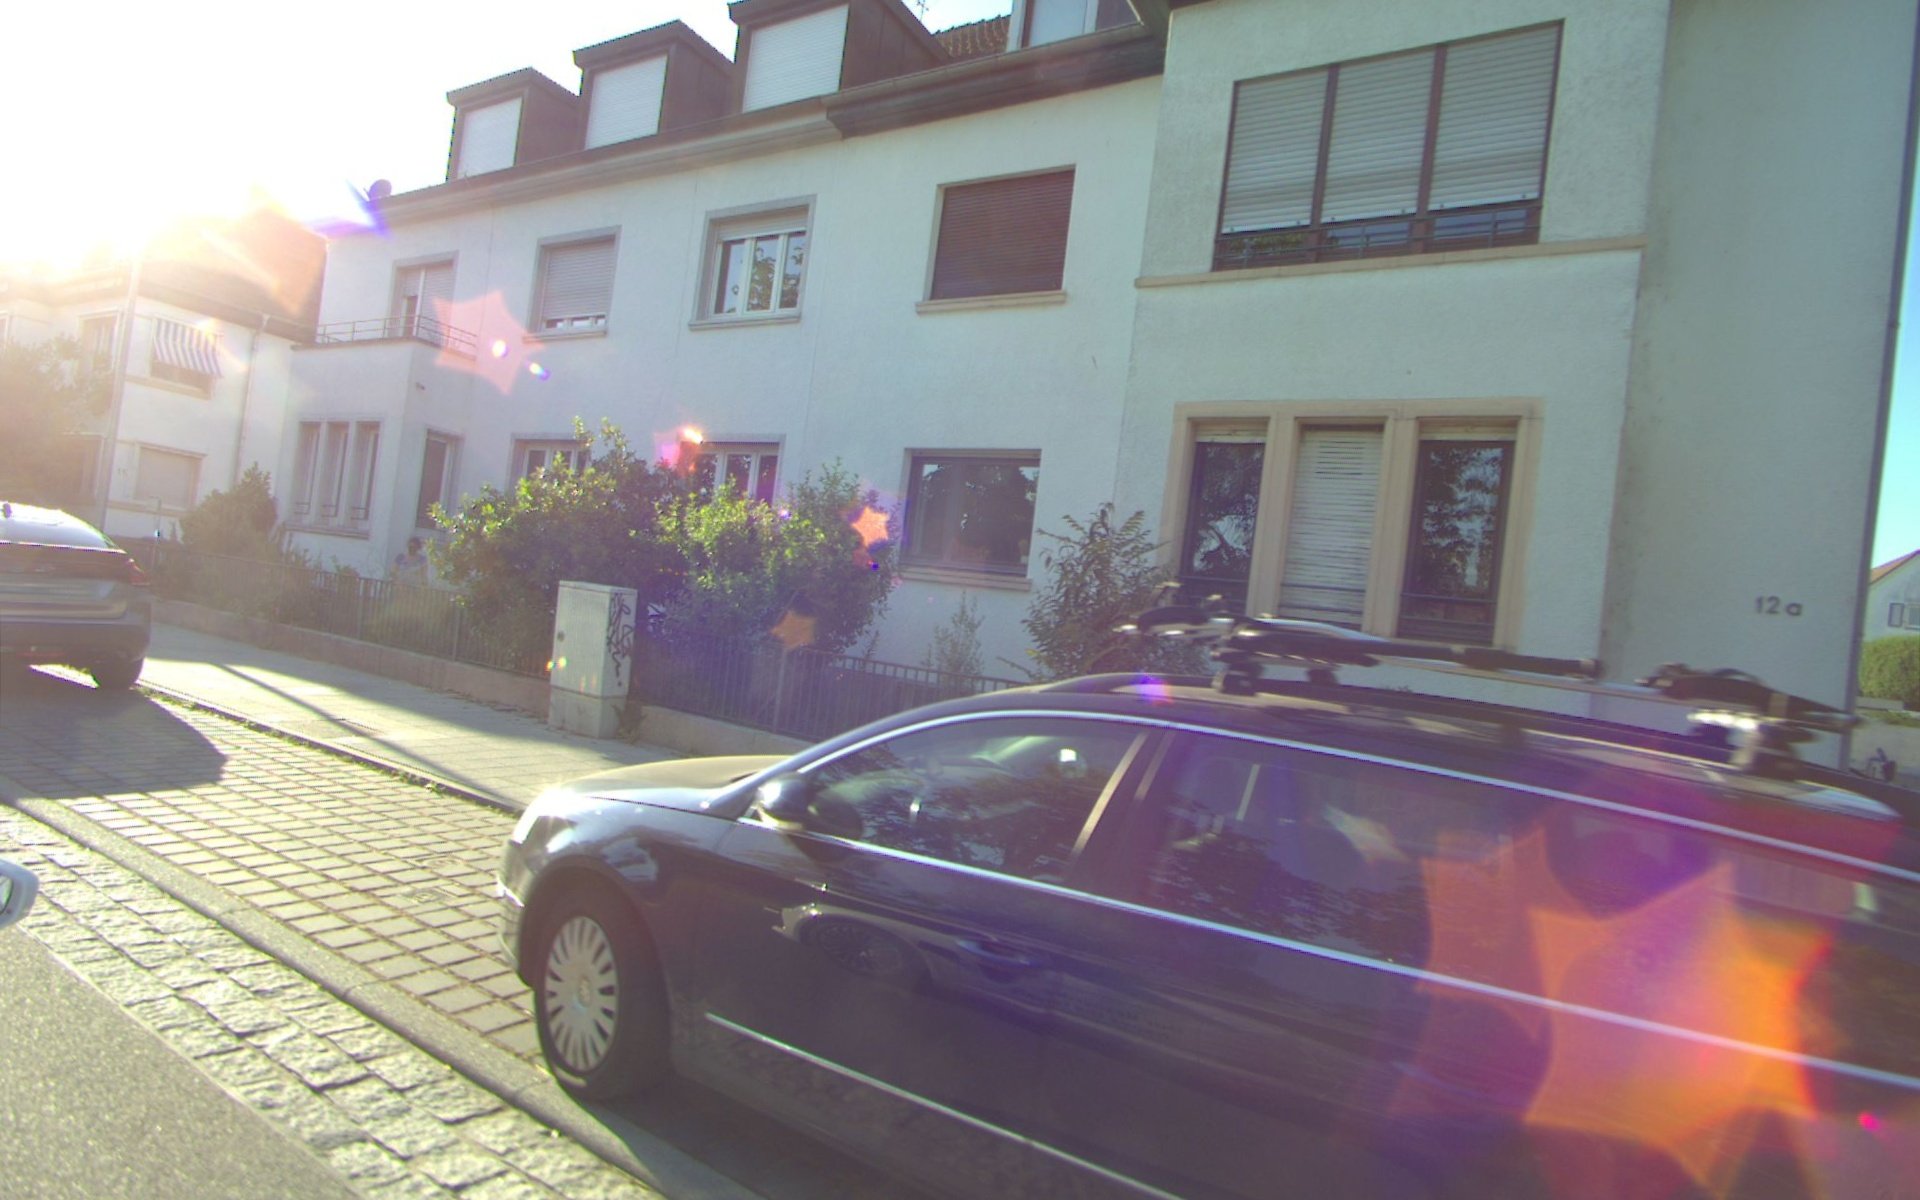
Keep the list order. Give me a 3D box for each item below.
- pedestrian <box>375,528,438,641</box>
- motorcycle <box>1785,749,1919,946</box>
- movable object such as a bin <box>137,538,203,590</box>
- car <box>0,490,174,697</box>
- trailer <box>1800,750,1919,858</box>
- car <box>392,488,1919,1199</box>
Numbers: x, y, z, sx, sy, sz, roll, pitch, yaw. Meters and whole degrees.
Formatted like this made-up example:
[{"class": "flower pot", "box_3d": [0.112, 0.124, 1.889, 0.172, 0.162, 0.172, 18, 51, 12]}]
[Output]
[{"class": "pedestrian", "box_3d": [-8.360, -0.232, 15.187, 0.591, 1.595, 0.625, 9, -3, -32]}, {"class": "motorcycle", "box_3d": [7.276, 1.903, 8.044, 0.588, 1.262, 2.074, 6, -2, 29]}, {"class": "movable object such as a bin", "box_3d": [-19.616, -0.895, 24.977, 0.777, 1.112, 0.986, 5, -4, 36]}, {"class": "car", "box_3d": [-9.102, -0.200, 8.998, 4.139, 1.593, 1.721, 6, -1, 29]}, {"class": "trailer", "box_3d": [13.846, 2.975, 14.413, 1.966, 1.276, 4.075, 7, -4, 30]}, {"class": "car", "box_3d": [0.513, 0.781, 2.958, 4.399, 1.793, 1.796, 6, -1, 32]}]
